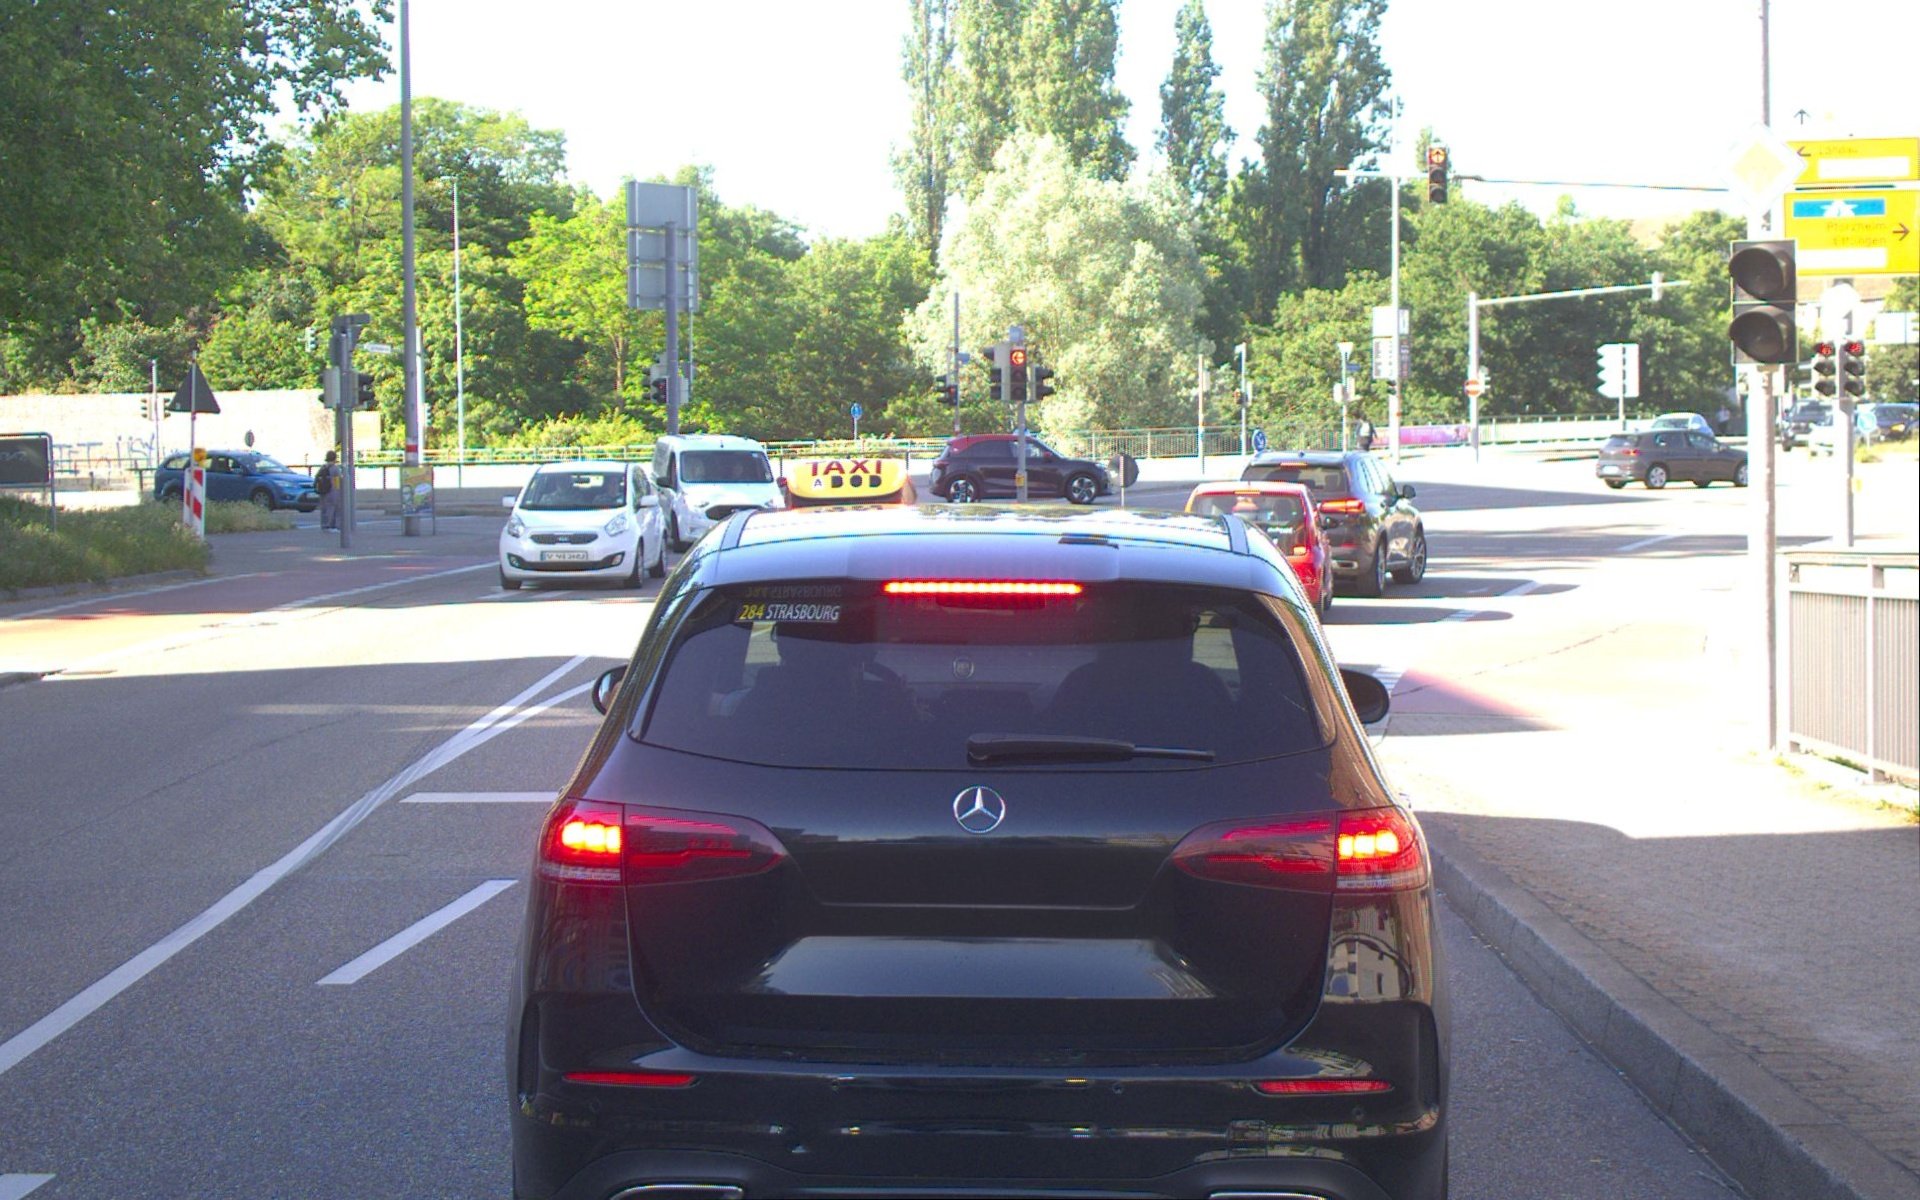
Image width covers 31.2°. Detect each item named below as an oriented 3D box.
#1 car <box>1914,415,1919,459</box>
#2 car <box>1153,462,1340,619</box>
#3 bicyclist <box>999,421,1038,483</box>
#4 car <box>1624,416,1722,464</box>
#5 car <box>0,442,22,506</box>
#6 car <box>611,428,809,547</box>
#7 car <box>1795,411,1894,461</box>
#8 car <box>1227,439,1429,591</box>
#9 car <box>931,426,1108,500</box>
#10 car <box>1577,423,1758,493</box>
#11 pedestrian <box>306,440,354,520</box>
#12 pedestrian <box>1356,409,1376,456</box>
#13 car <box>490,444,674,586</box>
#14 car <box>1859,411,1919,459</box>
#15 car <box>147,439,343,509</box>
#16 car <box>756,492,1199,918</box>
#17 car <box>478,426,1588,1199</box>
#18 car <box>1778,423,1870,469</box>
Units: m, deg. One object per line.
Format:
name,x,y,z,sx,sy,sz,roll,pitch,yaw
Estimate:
car,36.101,-5.938,124.219,1.882,1.572,3.992,1,4,35
car,3.155,-0.688,37.382,1.722,1.516,3.485,0,4,10
bicyclist,1.484,-3.782,87.780,0.805,1.545,0.527,-4,3,-41
car,24.547,-5.513,118.250,1.882,1.572,3.992,1,4,35
car,-26.253,-3.204,87.739,4.404,1.624,1.888,1,3,30
car,-4.099,-1.841,55.604,1.917,1.788,4.900,-3,3,-19
car,29.056,-5.394,112.875,1.882,1.572,3.992,1,4,35
car,4.661,-1.099,43.039,1.723,1.806,4.294,0,2,17
car,1.352,-3.137,78.832,3.987,1.624,1.891,-1,2,0
car,17.116,-3.444,83.186,3.986,1.624,1.891,-2,3,-28
pedestrian,-12.064,-2.303,65.834,0.705,1.520,0.743,1,2,10
pedestrian,13.838,-5.721,117.210,0.451,1.580,0.500,1,3,40
car,-4.854,-1.143,44.665,1.778,1.629,4.001,-1,4,2
car,32.500,-5.677,118.059,1.882,1.572,3.992,1,4,35
car,-17.089,-3.005,82.147,4.404,1.624,1.888,1,3,29
car,0.102,0.345,14.714,1.640,1.524,3.474,-1,3,1
car,0.082,0.459,7.861,1.877,1.607,4.001,1,2,-1
car,30.706,-5.487,122.107,1.882,1.572,3.992,1,4,35
